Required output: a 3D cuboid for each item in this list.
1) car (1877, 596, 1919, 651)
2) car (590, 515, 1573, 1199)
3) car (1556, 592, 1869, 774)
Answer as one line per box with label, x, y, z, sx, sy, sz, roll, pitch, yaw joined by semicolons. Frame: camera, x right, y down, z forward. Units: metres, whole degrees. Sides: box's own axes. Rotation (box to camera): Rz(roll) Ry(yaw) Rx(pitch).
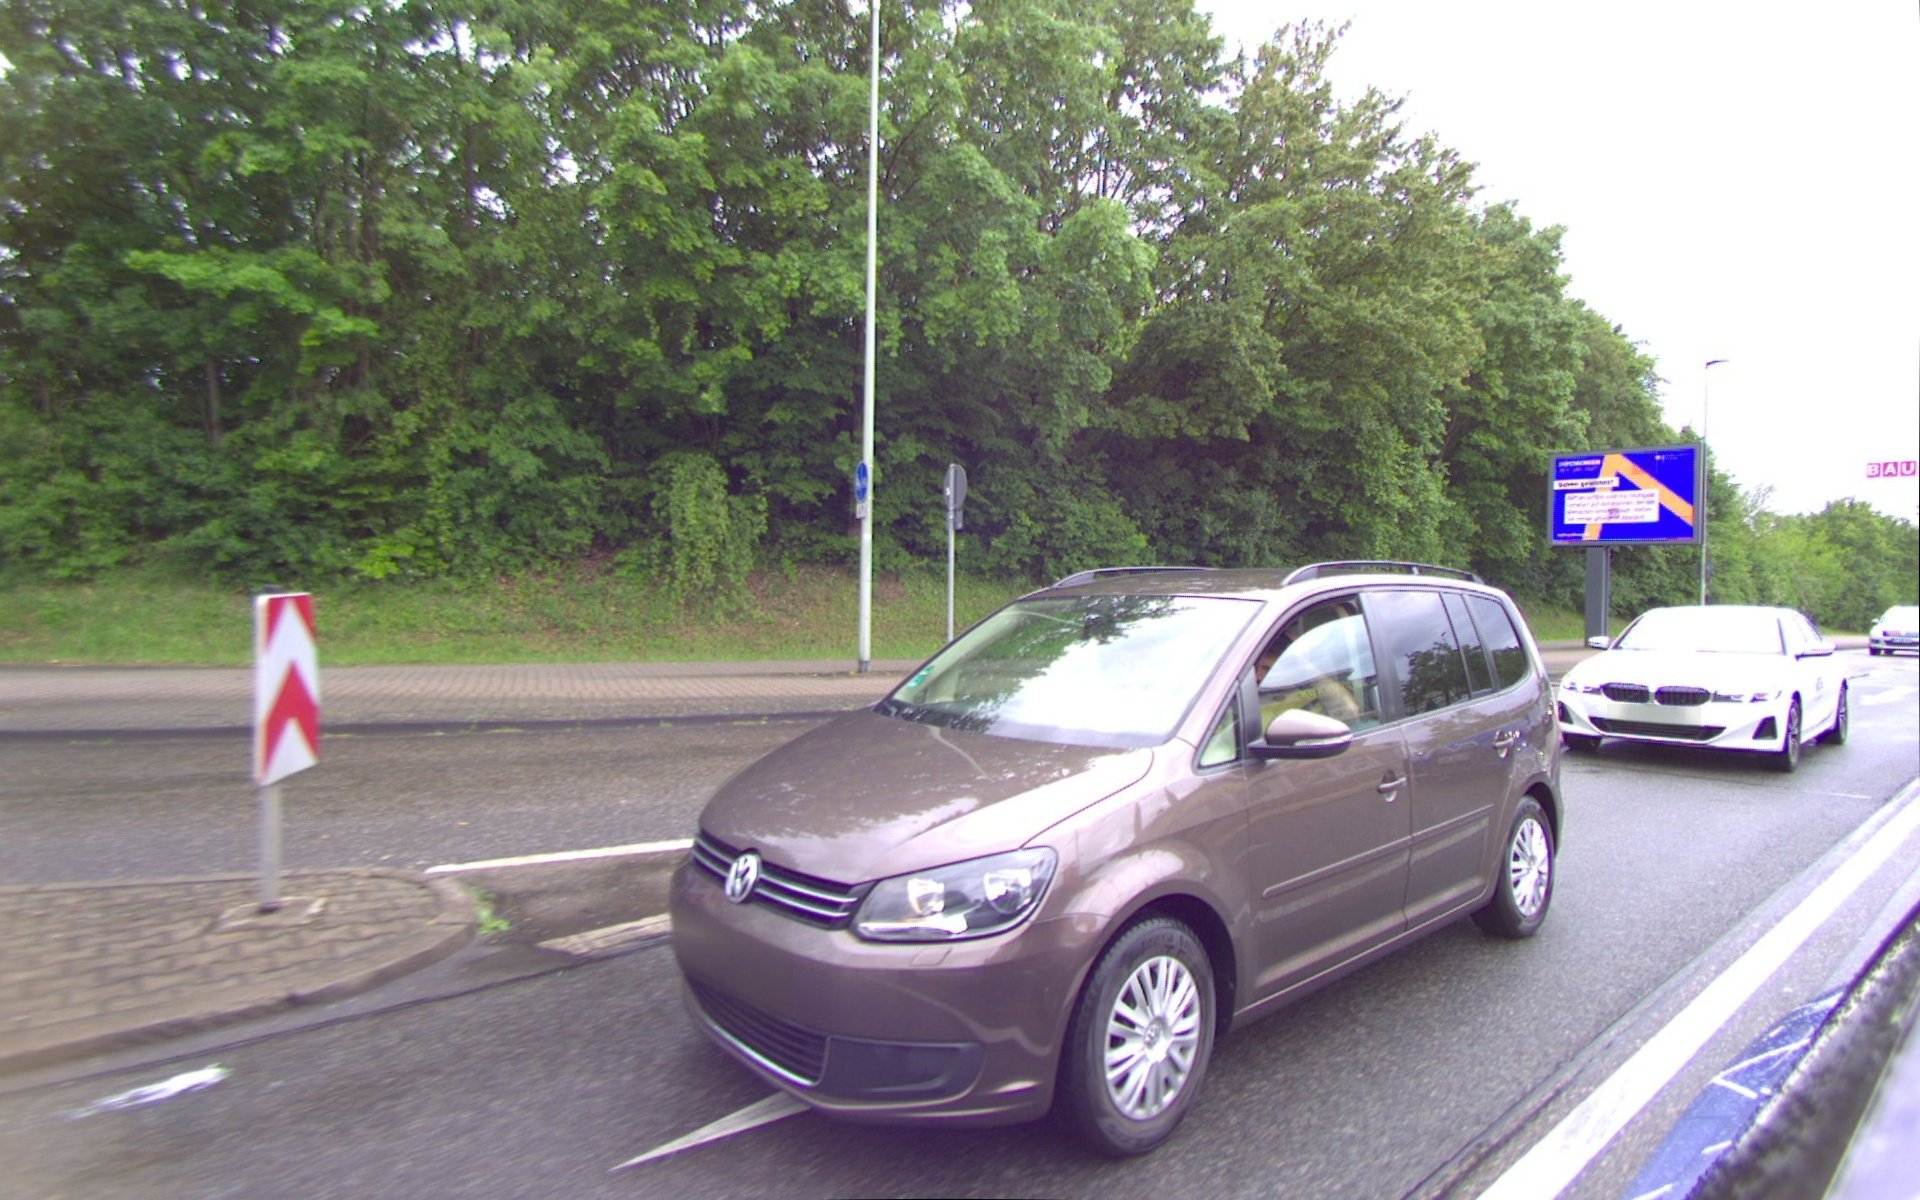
car;32.491;0.758;34.003;4.241;1.749;1.997;0;1;-41
car;0.781;0.614;4.056;3.910;1.629;1.750;-1;0;-41
car;7.965;0.668;10.531;4.600;1.475;1.782;-1;1;-42
